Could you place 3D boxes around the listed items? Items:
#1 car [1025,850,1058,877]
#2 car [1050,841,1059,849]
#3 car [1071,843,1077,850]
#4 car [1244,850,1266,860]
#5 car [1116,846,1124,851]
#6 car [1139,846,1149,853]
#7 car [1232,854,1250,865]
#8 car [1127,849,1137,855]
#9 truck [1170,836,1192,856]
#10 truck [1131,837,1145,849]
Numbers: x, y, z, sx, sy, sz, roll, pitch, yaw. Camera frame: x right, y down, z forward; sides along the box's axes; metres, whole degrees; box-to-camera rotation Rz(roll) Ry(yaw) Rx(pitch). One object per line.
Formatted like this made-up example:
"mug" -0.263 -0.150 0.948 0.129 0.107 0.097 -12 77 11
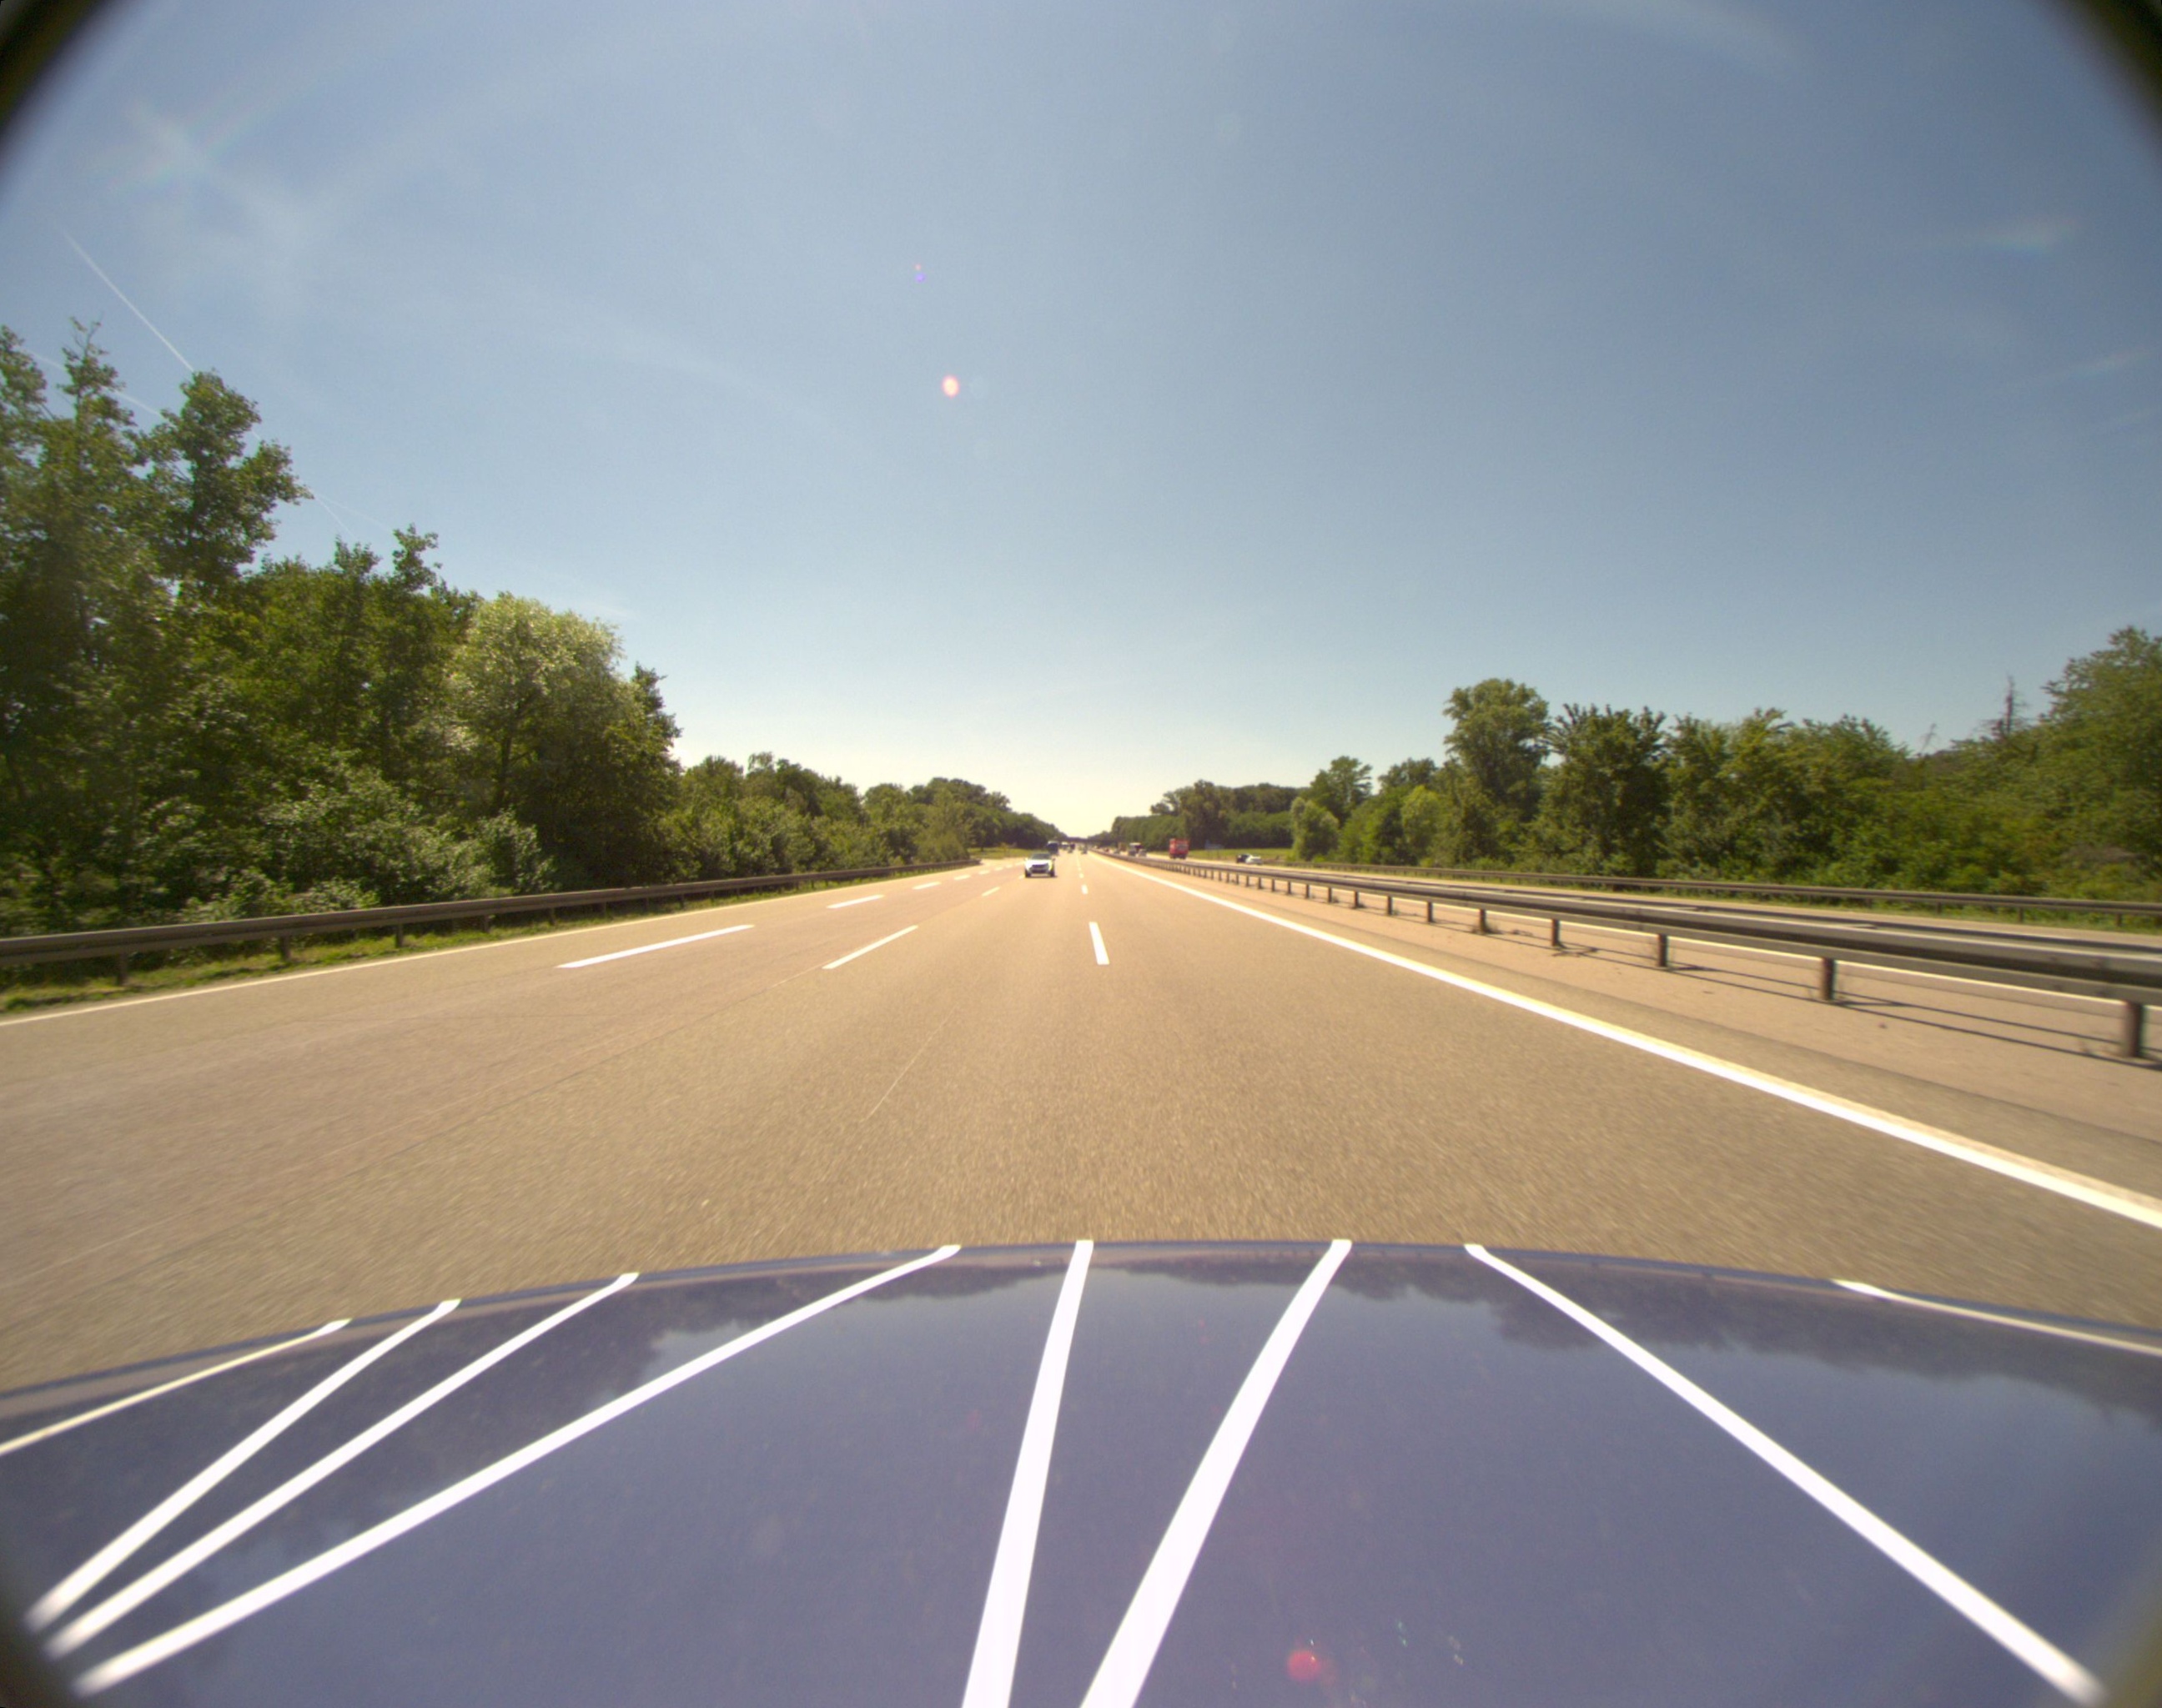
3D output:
"car" -2.420 0.543 47.817 1.845 1.565 3.999 -1 1 0
"car" -6.643 -2.275 190.845 2.301 2.002 4.794 0 1 -1
"car" -2.192 -2.323 237.885 1.840 2.002 3.999 0 1 0
"car" 24.444 0.146 106.771 1.998 1.404 4.972 0 1 0
"car" 11.273 -1.661 221.174 1.998 1.543 5.223 0 1 1
"car" 14.946 -1.148 181.474 1.998 1.617 4.543 1 1 1
"car" 24.760 0.843 117.981 1.998 1.569 4.267 1 1 2
"car" 11.506 -0.471 171.492 1.901 1.497 4.116 0 1 -1
"truck" 18.921 -1.558 144.300 3.072 3.705 9.804 0 1 0
"truck" 18.903 -3.800 252.625 3.091 3.853 17.542 0 1 -1
